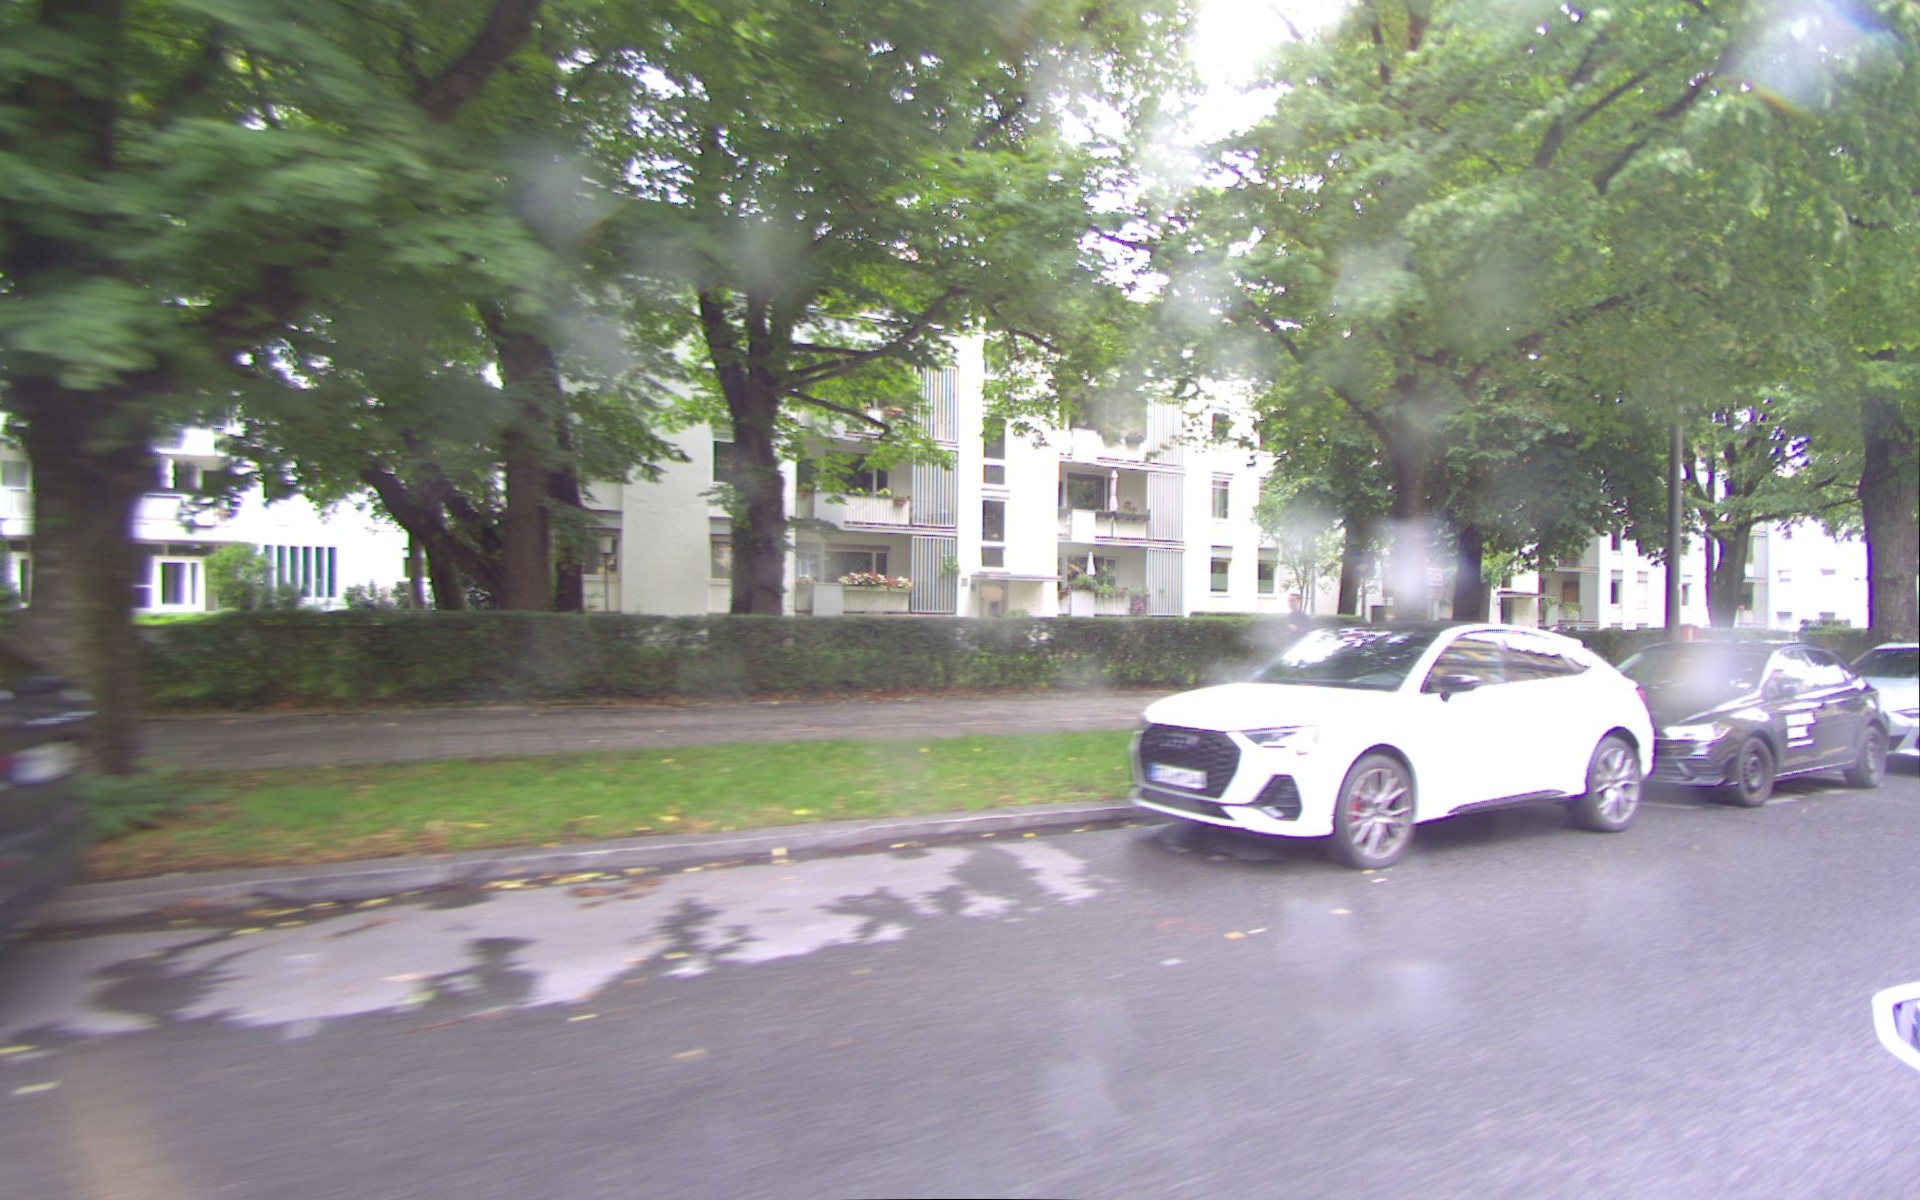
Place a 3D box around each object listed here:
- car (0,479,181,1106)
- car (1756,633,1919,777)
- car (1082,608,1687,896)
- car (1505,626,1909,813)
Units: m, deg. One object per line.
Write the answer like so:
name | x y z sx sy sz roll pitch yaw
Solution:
car | -5.196 0.531 2.794 4.493 1.902 1.776 2 -1 -29
car | 12.050 1.194 12.259 4.933 1.489 1.803 2 -1 -27
car | 3.288 0.930 7.545 4.528 1.618 1.776 2 -1 -29
car | 7.378 1.042 9.844 4.054 1.489 1.665 2 -1 -29
